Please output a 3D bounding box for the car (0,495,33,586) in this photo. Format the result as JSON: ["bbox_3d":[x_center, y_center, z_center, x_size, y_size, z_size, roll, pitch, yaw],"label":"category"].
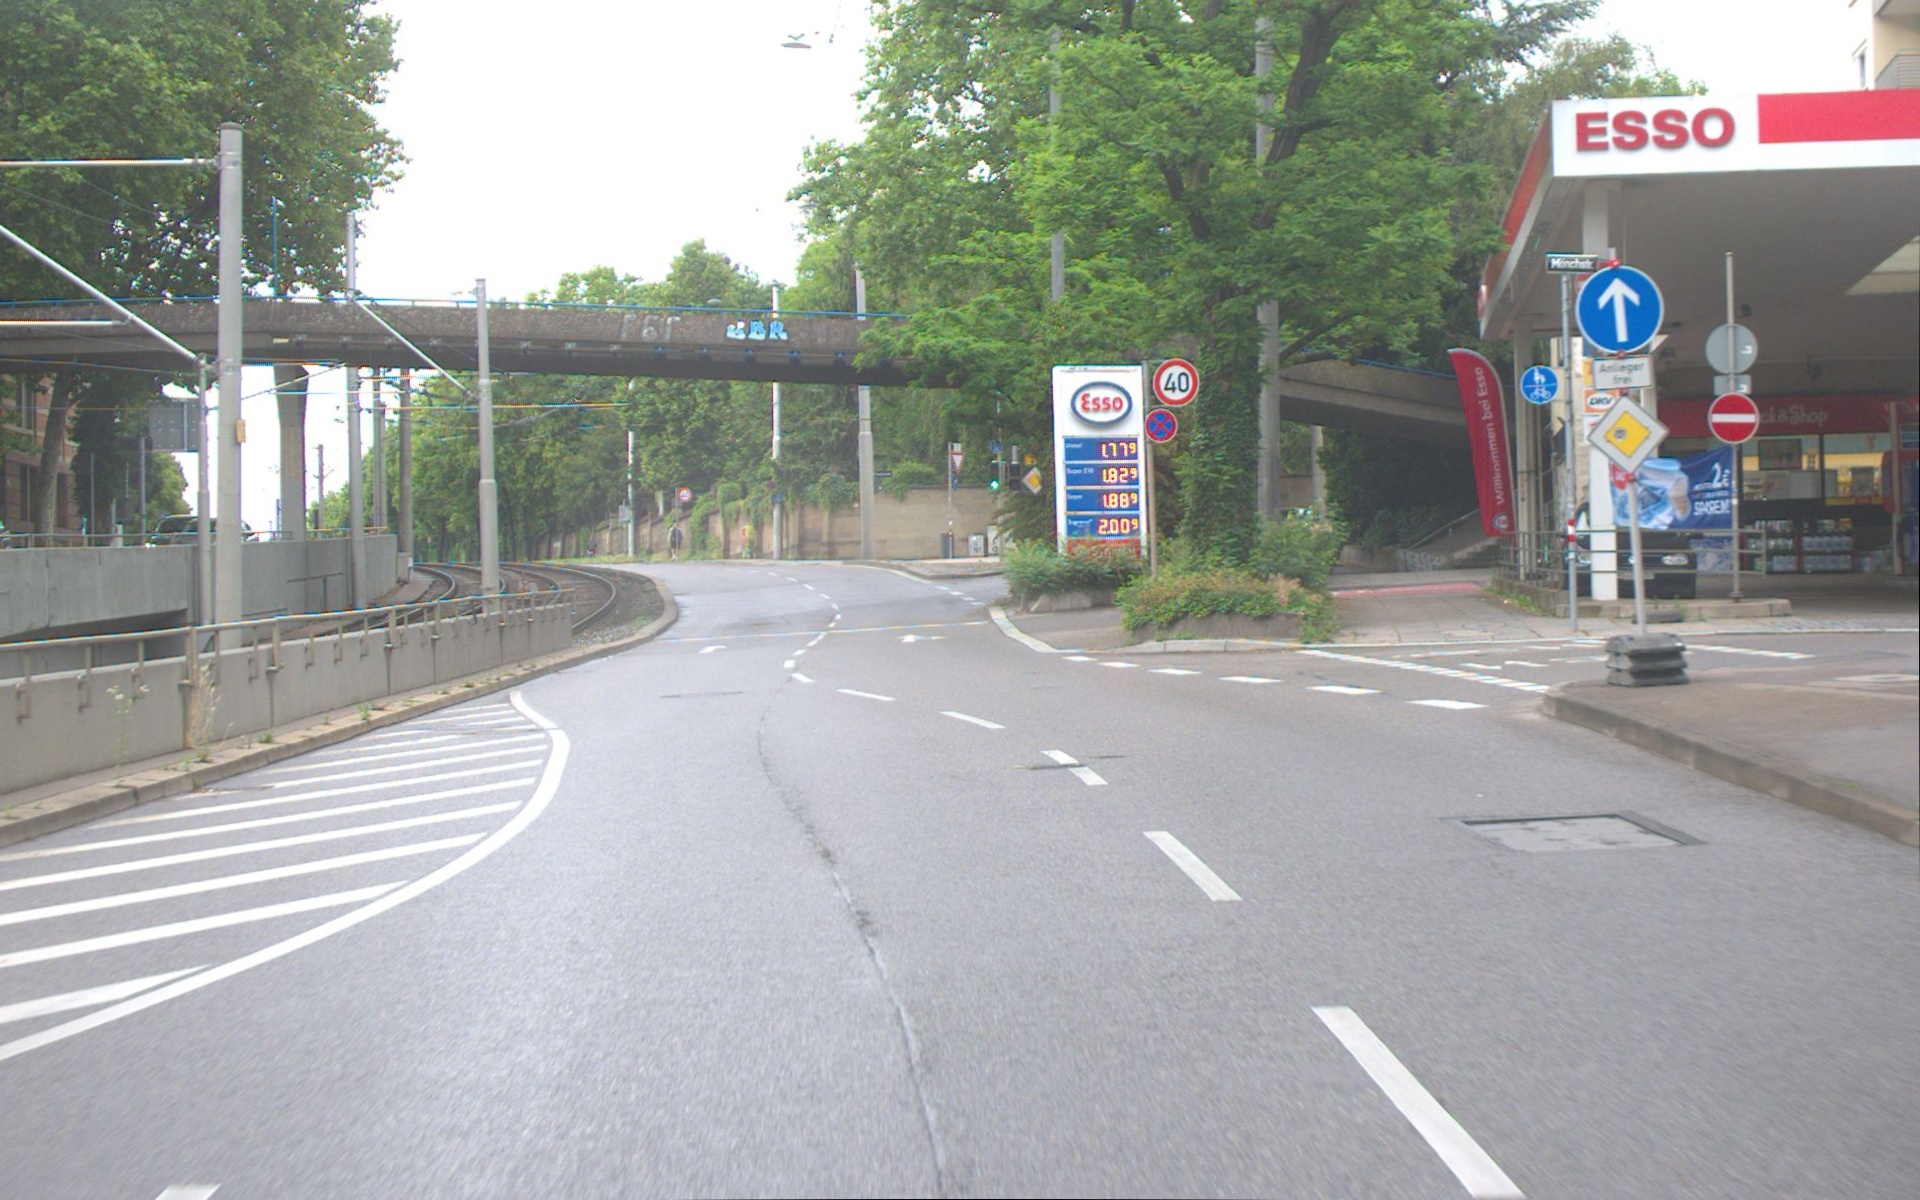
[{"bbox_3d":[-20.428,-1.221,69.409,1.956,1.846,4.968,1,1,2],"label":"car"}]

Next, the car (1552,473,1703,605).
[{"bbox_3d":[8.986,-0.813,46.481,1.773,1.618,3.865,-3,0,9],"label":"car"}]

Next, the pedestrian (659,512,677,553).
[{"bbox_3d":[-13.369,-3.102,157.479,0.719,1.843,0.783,0,0,-13],"label":"pedestrian"}]

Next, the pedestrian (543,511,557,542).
[{"bbox_3d":[-22.794,-4.098,191.036,0.719,1.681,0.729,0,0,-13],"label":"pedestrian"}]
